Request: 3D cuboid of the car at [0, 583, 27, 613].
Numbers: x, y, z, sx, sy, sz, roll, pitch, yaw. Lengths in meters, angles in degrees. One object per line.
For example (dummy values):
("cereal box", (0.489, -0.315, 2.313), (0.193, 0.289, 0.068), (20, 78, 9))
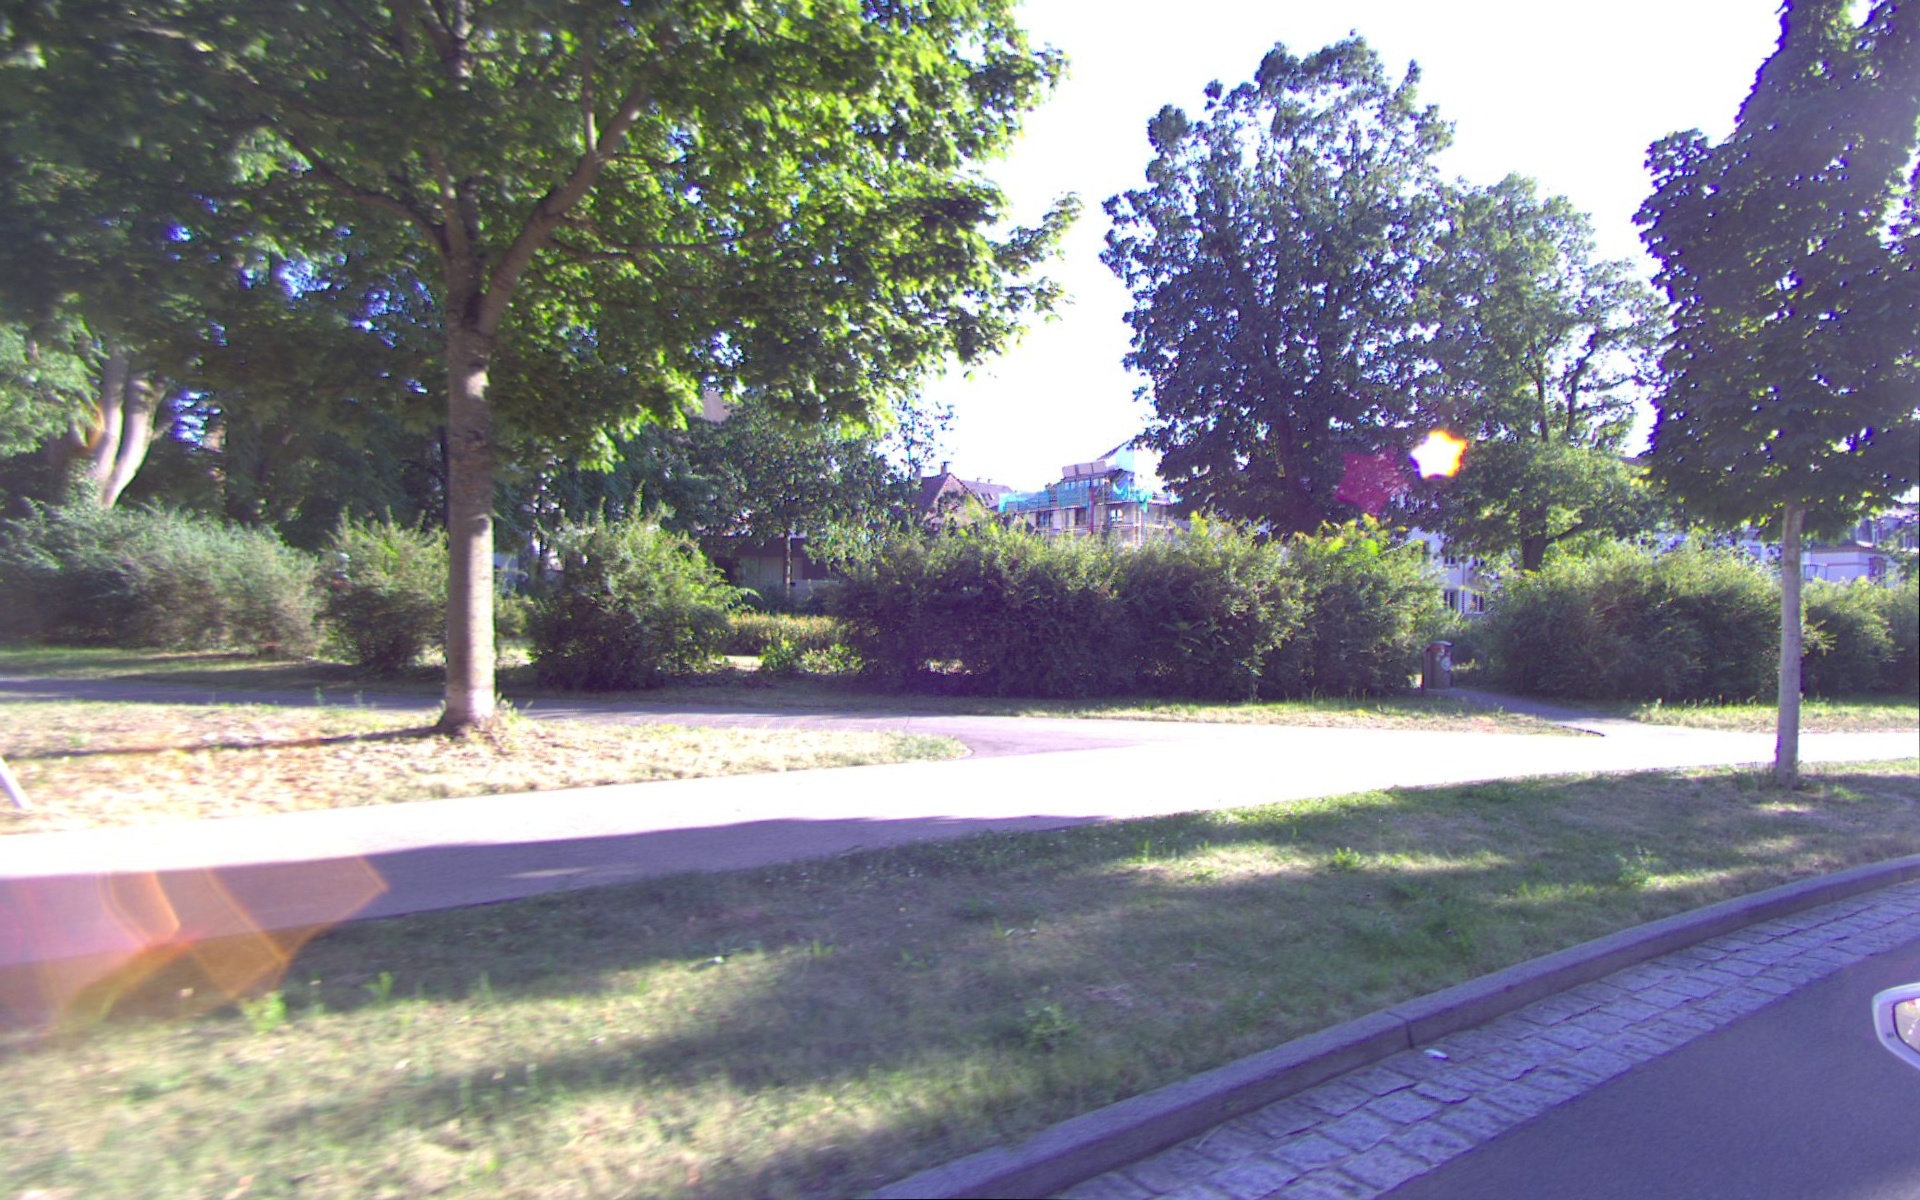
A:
("car", (-59.769, -0.149, 60.767), (4.424, 1.705, 2.286), (1, -3, -1))
